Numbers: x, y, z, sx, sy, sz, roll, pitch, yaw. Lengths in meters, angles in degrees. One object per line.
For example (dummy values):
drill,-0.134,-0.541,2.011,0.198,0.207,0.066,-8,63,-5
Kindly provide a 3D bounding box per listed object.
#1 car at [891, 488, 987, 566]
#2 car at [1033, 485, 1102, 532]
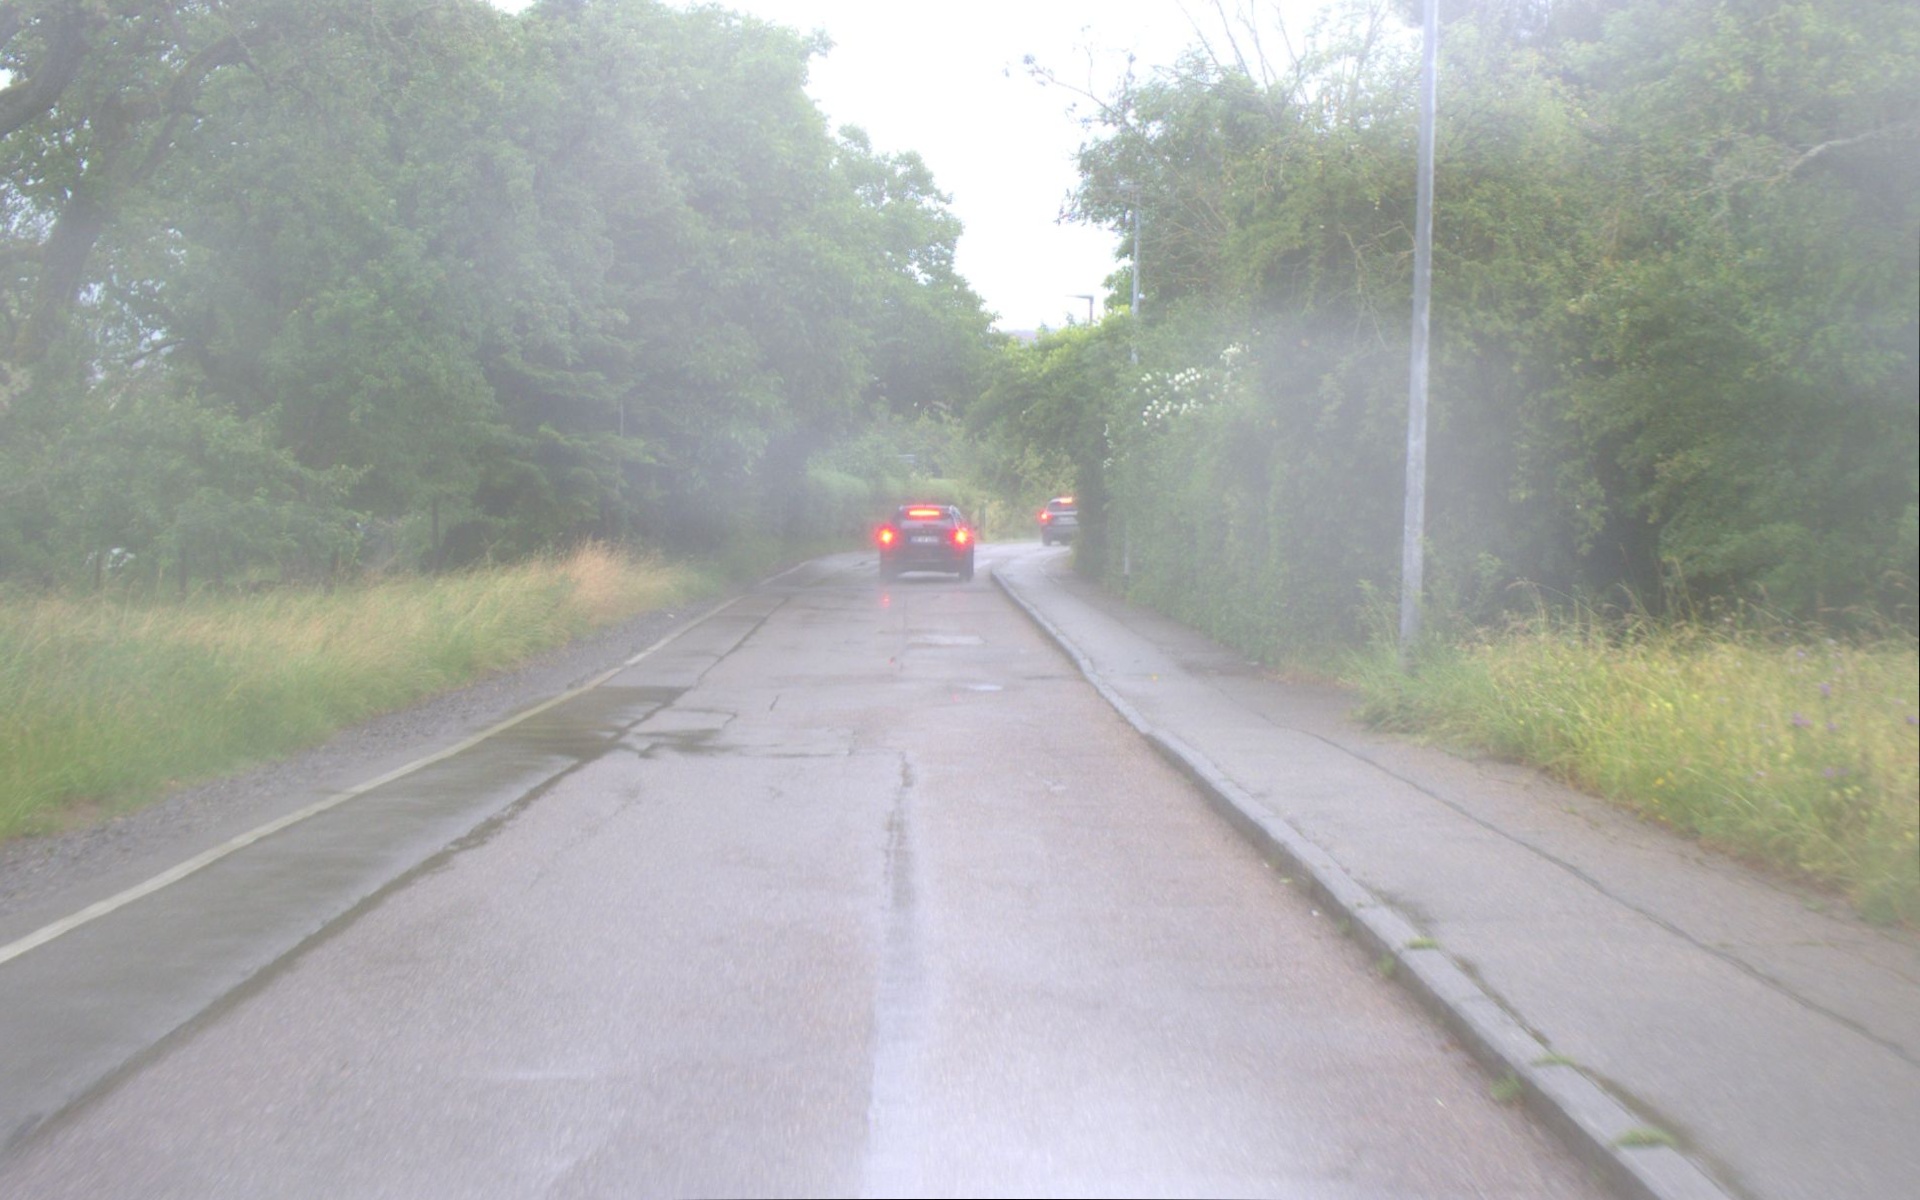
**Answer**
car,-0.386,-1.409,67.154,1.635,1.445,3.544,1,1,3
car,3.466,-2.928,110.355,1.635,1.409,3.543,1,1,11
